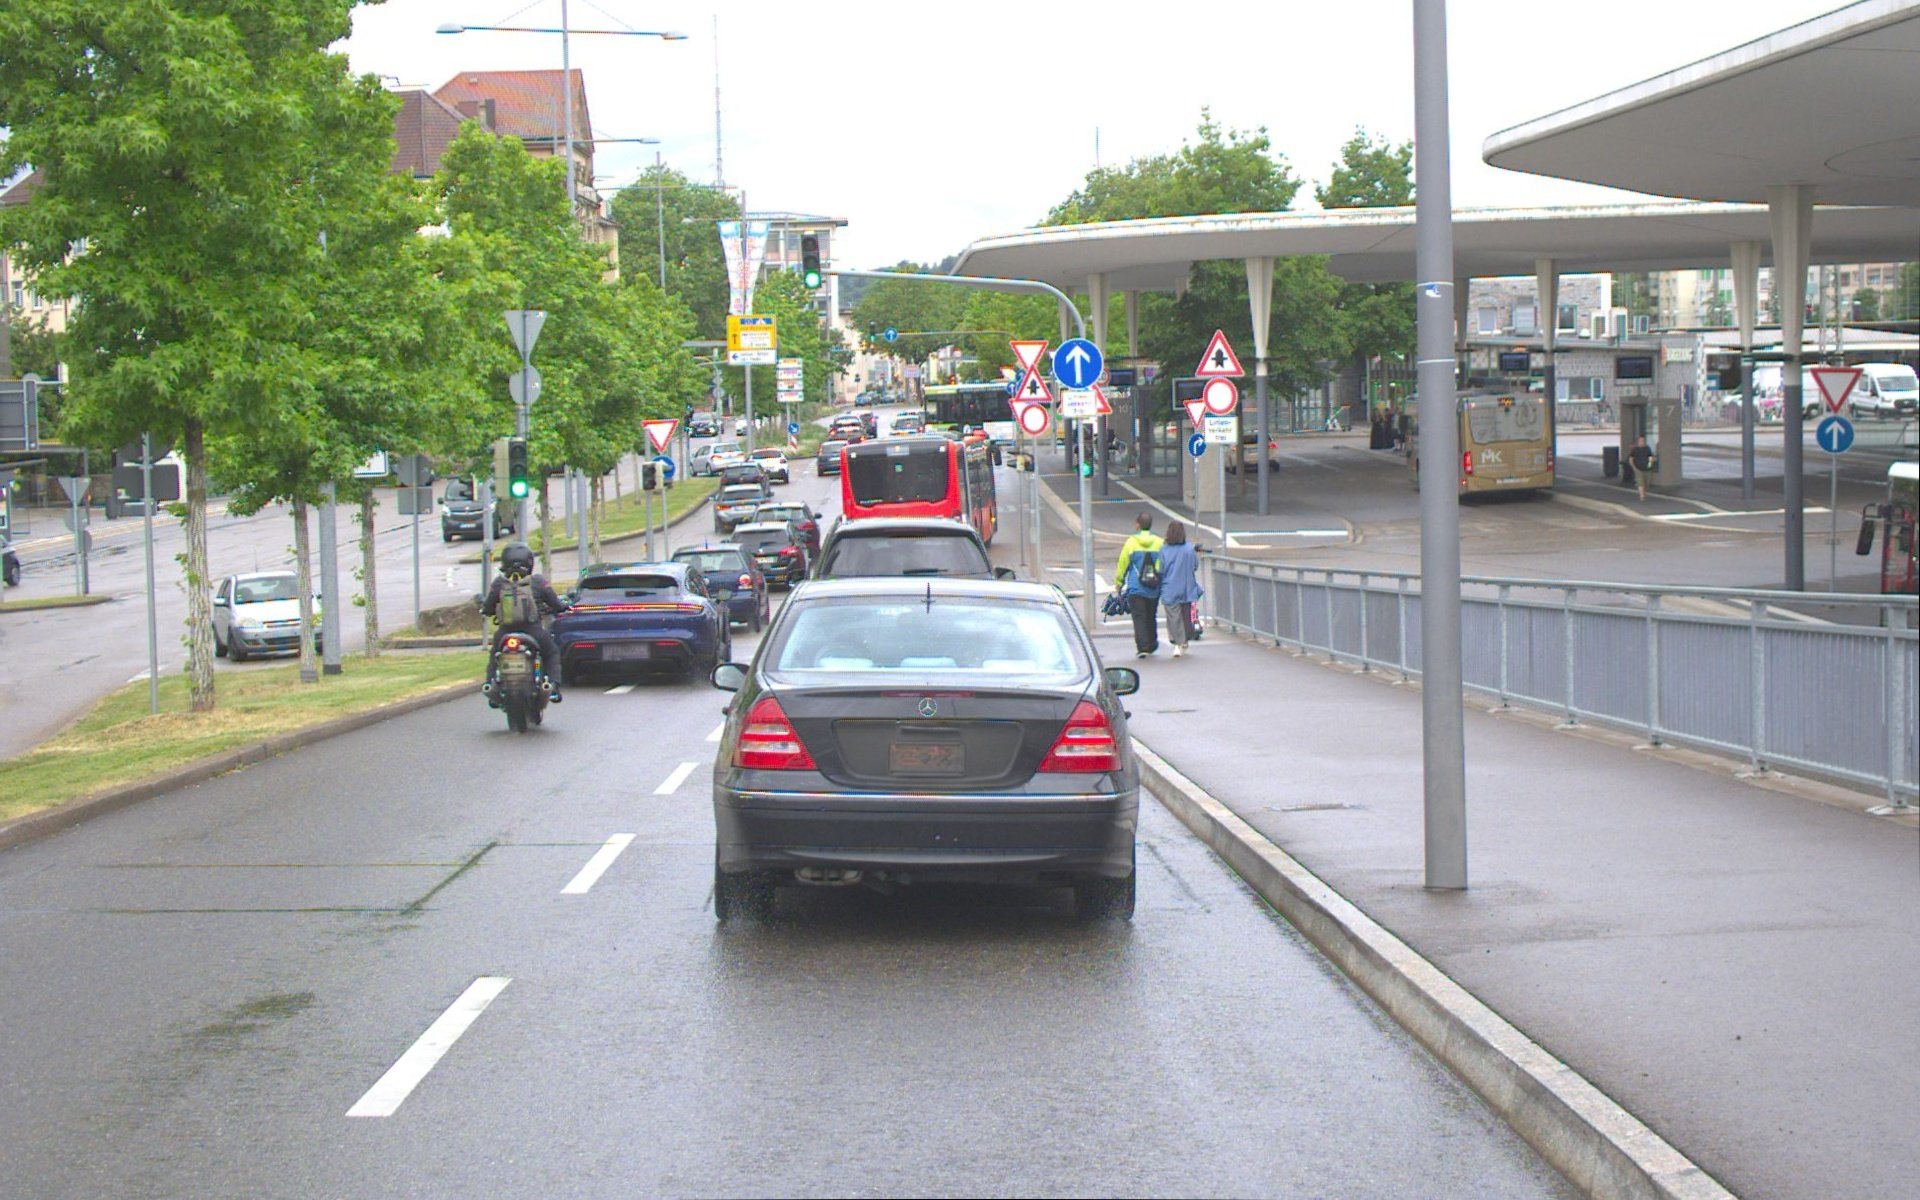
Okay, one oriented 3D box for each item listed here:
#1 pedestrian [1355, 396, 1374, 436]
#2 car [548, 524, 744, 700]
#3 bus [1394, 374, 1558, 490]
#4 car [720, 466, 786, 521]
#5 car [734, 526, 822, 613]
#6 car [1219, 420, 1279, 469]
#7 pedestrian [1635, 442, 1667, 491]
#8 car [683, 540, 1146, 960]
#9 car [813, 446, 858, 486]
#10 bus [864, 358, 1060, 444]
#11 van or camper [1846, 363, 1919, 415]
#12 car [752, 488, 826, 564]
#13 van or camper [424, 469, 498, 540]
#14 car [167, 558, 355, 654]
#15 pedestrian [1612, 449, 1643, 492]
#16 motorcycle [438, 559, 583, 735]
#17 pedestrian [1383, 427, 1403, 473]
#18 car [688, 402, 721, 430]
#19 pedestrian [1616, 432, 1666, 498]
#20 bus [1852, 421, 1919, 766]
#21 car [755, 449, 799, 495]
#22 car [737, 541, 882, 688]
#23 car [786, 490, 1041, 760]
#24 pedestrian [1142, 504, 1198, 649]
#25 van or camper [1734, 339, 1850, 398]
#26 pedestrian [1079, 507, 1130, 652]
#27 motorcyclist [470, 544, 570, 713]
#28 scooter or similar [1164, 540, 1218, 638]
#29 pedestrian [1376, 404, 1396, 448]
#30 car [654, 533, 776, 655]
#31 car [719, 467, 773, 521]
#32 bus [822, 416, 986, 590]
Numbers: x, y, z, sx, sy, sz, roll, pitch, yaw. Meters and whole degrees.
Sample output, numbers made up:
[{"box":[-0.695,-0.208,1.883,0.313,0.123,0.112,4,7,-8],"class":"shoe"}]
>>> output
[{"box":[16.245,-7.391,138.135,0.580,1.573,0.560,1,0,29],"class":"pedestrian"},{"box":[-3.603,0.083,40.163,1.816,1.565,4.405,-5,4,0],"class":"car"},{"box":[15.197,-5.102,102.192,2.721,3.032,12.092,-3,4,-1],"class":"bus"},{"box":[-6.396,-3.291,106.619,1.865,1.678,4.000,1,1,-1],"class":"car"},{"box":[-3.900,-0.678,74.175,1.575,1.499,3.872,-5,4,0],"class":"car"},{"box":[10.674,-5.760,127.053,1.711,1.656,4.241,-2,4,-2],"class":"car"},{"box":[19.973,-3.855,99.330,0.793,1.373,0.633,-2,4,17],"class":"pedestrian"},{"box":[-0.211,0.523,14.958,1.697,1.457,4.304,-1,2,-1],"class":"car"},{"box":[-5.386,-5.811,149.454,1.865,1.678,4.000,1,1,-1],"class":"car"},{"box":[-0.001,-10.064,174.742,2.839,3.973,11.860,-6,5,-39],"class":"bus"},{"box":[39.901,-9.074,147.917,1.993,2.095,5.481,0,2,-1],"class":"van or camper"},{"box":[-4.242,-1.876,85.704,1.575,1.561,3.872,-5,4,0],"class":"car"},{"box":[-16.552,-3.136,113.873,2.216,2.065,5.285,-4,1,-9],"class":"van or camper"},{"box":[-11.788,0.084,57.821,1.632,1.443,3.876,-6,4,-34],"class":"car"},{"box":[19.791,-3.845,101.907,0.793,1.222,0.633,-2,4,17],"class":"pedestrian"},{"box":[-3.740,0.374,28.769,0.793,1.257,1.855,-4,4,3],"class":"motorcycle"},{"box":[16.177,-5.595,128.418,0.560,1.686,0.614,-2,4,-7],"class":"pedestrian"},{"box":[-16.641,-12.007,224.179,1.780,1.561,3.431,-5,4,0],"class":"car"},{"box":[18.007,-3.568,90.874,0.717,1.678,1.021,-6,4,-26],"class":"pedestrian"},{"box":[11.065,0.333,30.197,2.844,3.349,12.430,1,5,-1],"class":"bus"},{"box":[-7.609,-5.299,142.919,1.642,1.798,3.640,1,1,-1],"class":"car"},{"box":[-2.003,0.155,46.747,1.741,1.561,3.872,-5,4,0],"class":"car"},{"box":[-0.414,0.131,30.817,1.957,1.869,4.875,-5,4,0],"class":"car"},{"box":[2.420,-0.267,39.704,0.589,1.665,0.580,0,-1,-1],"class":"pedestrian"},{"box":[37.309,-10.376,154.240,4.607,2.549,2.119,0,2,-2],"class":"van or camper"},{"box":[1.679,-0.243,39.895,0.522,1.664,0.580,-1,1,-1],"class":"pedestrian"},{"box":[-3.704,0.234,28.954,0.641,1.342,0.689,-3,4,3],"class":"motorcyclist"},{"box":[2.968,-0.146,44.285,0.463,1.217,1.859,-3,1,-1],"class":"scooter or similar"},{"box":[17.120,-6.995,138.275,0.580,1.710,0.560,1,0,34],"class":"pedestrian"},{"box":[-4.042,-0.132,57.166,1.676,1.617,3.872,-5,4,0],"class":"car"},{"box":[-7.997,-3.947,128.605,1.797,1.900,3.640,1,1,-1],"class":"car"},{"box":[-1.194,-2.339,78.165,3.286,3.280,10.880,-3,4,0],"class":"bus"}]
